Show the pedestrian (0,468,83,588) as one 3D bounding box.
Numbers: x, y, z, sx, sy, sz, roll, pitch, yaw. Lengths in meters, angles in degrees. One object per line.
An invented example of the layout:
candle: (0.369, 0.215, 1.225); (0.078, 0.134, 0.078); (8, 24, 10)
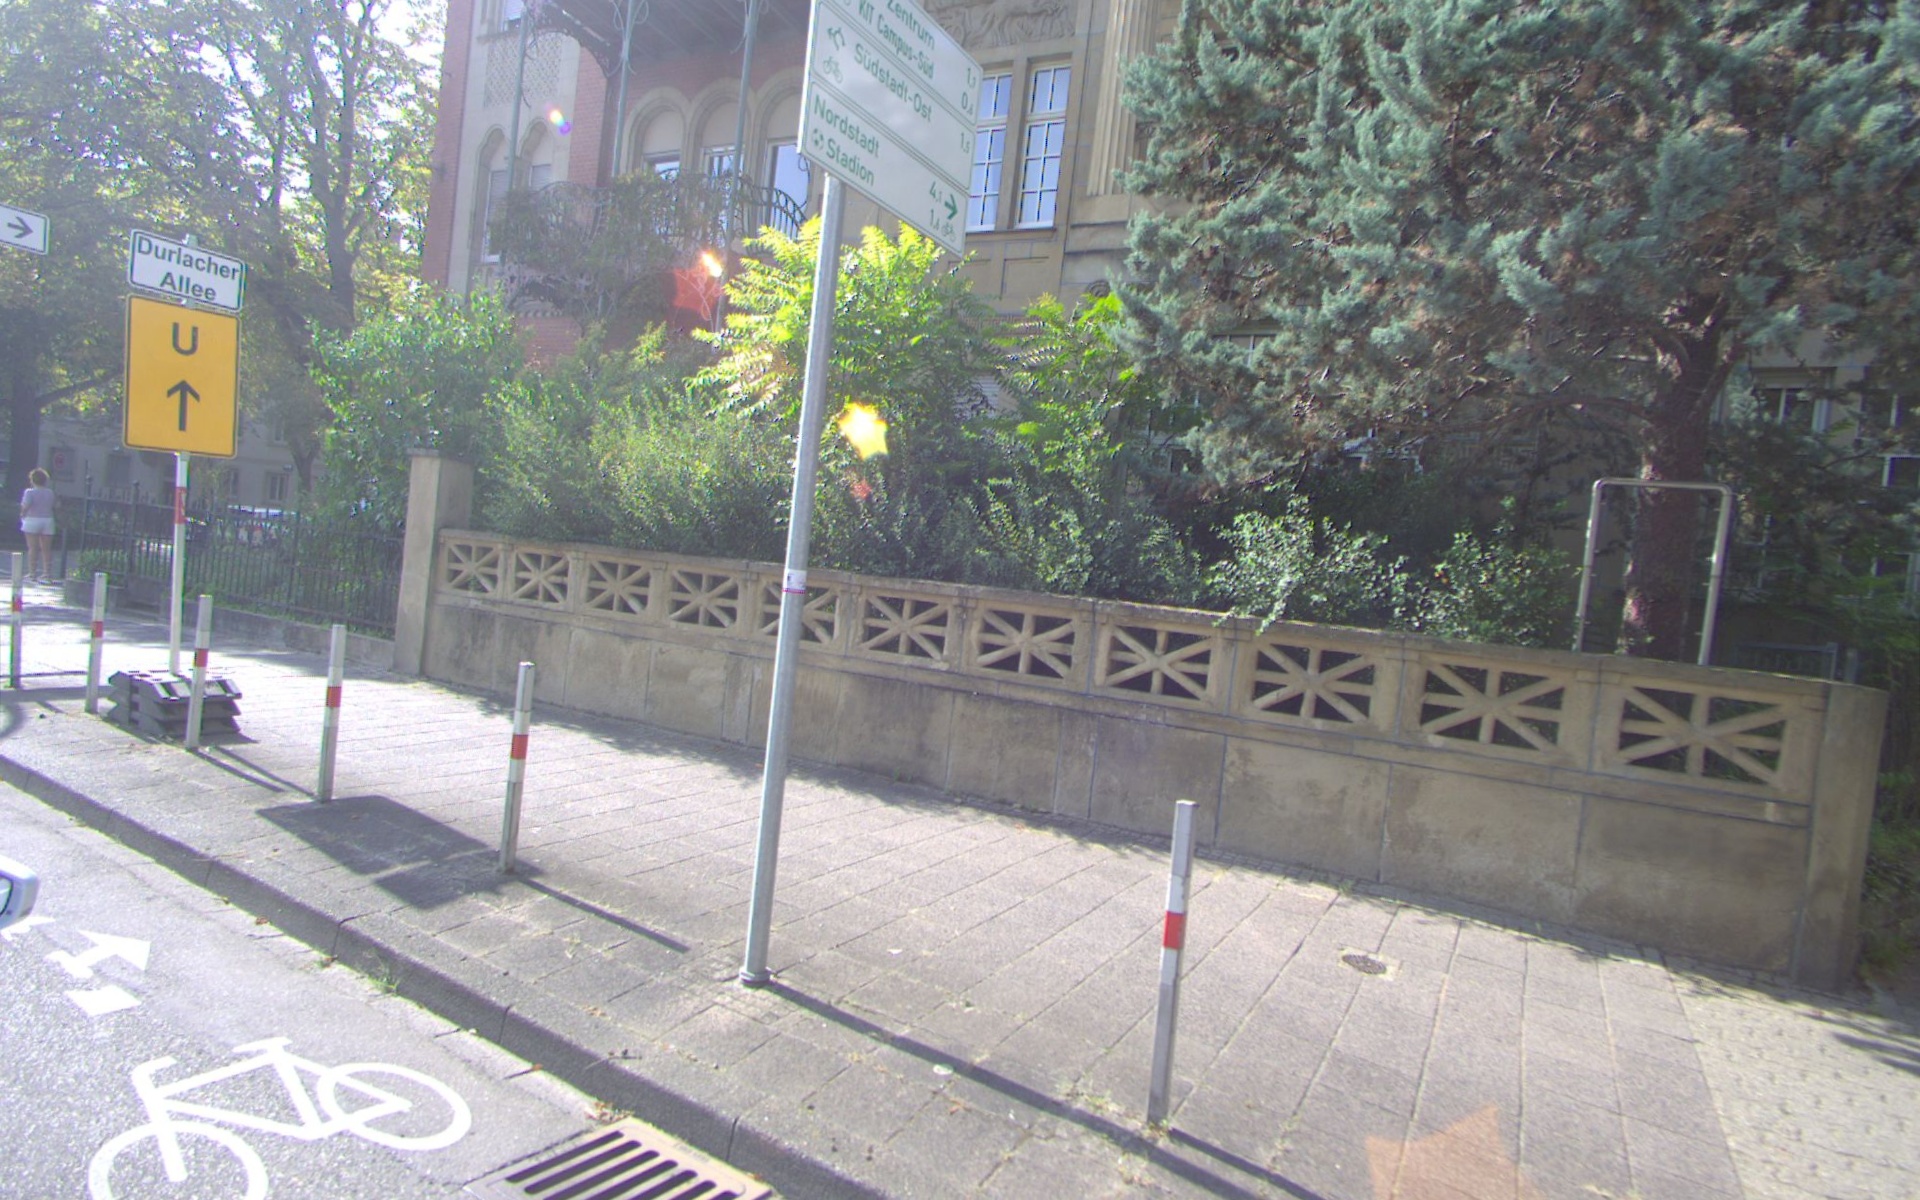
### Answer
pedestrian: (-14.476, -1.121, 15.737); (0.757, 1.753, 0.752); (7, 1, 18)

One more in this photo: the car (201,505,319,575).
car: (-20.054, -1.712, 29.021); (1.975, 1.651, 4.304); (6, 1, -25)
